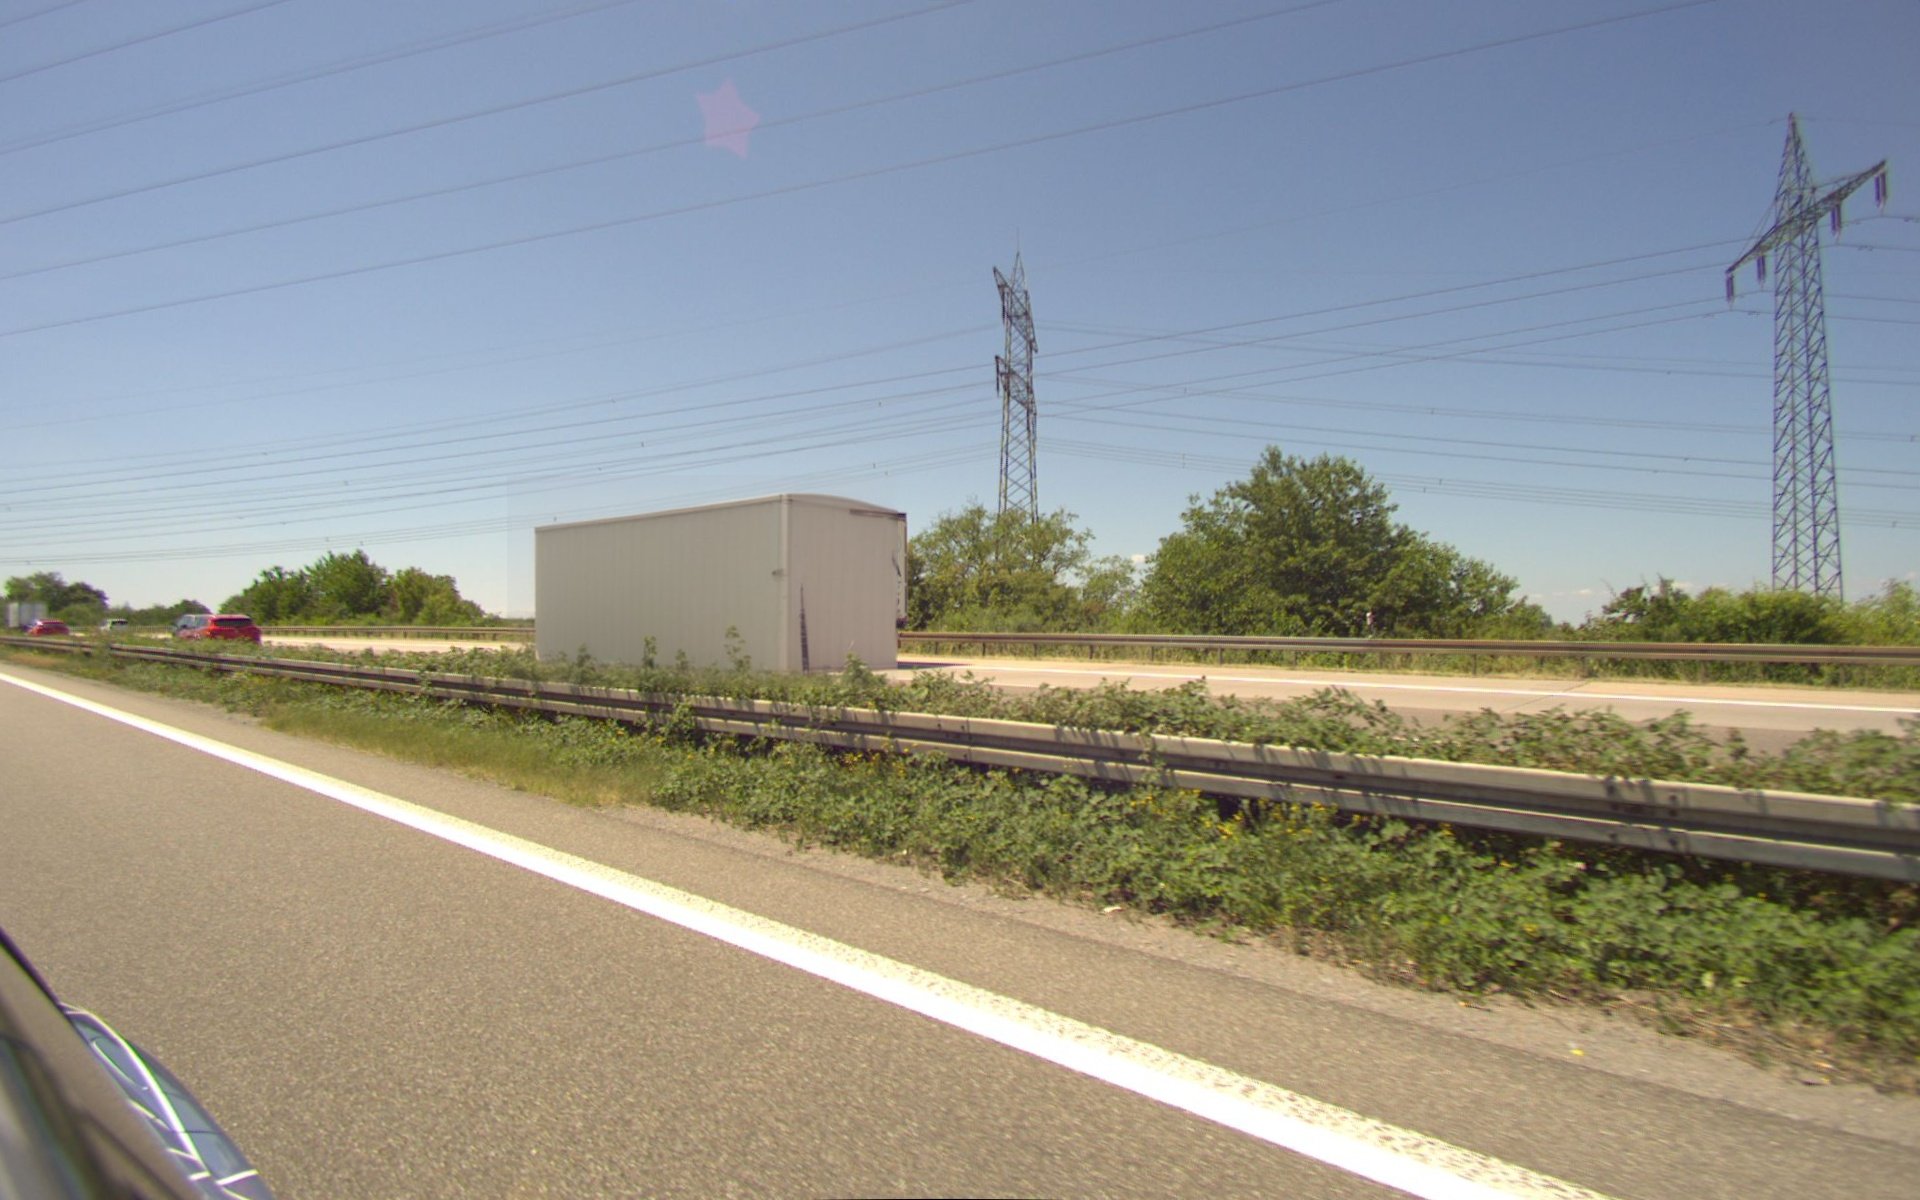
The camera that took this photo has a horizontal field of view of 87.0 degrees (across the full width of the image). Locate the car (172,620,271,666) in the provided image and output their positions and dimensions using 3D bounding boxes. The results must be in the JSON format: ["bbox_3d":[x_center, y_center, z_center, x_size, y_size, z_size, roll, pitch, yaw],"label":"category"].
[{"bbox_3d":[-27.115,1.542,37.112,4.444,1.561,1.973,-1,-1,40],"label":"car"}]

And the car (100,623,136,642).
[{"bbox_3d":[-71.878,2.783,86.421,4.276,1.544,1.648,-1,-1,40],"label":"car"}]

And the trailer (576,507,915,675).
[{"bbox_3d":[-7.028,-0.142,30.172,13.584,4.073,2.479,-1,-1,43],"label":"trailer"}]

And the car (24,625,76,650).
[{"bbox_3d":[-56.012,2.275,62.288,3.957,1.491,1.884,-1,-1,40],"label":"car"}]

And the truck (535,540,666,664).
[{"bbox_3d":[-12.604,0.080,35.328,4.601,4.049,2.455,-1,-1,43],"label":"truck"}]

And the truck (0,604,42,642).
[{"bbox_3d":[-104.848,2.644,112.754,9.662,4.007,2.428,-3,-4,40],"label":"truck"}]

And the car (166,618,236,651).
[{"bbox_3d":[-40.947,1.832,54.536,4.926,1.686,1.973,-1,-1,40],"label":"car"}]

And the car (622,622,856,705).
[{"bbox_3d":[-4.294,1.159,19.216,4.772,1.337,1.972,-3,-2,43],"label":"car"}]
